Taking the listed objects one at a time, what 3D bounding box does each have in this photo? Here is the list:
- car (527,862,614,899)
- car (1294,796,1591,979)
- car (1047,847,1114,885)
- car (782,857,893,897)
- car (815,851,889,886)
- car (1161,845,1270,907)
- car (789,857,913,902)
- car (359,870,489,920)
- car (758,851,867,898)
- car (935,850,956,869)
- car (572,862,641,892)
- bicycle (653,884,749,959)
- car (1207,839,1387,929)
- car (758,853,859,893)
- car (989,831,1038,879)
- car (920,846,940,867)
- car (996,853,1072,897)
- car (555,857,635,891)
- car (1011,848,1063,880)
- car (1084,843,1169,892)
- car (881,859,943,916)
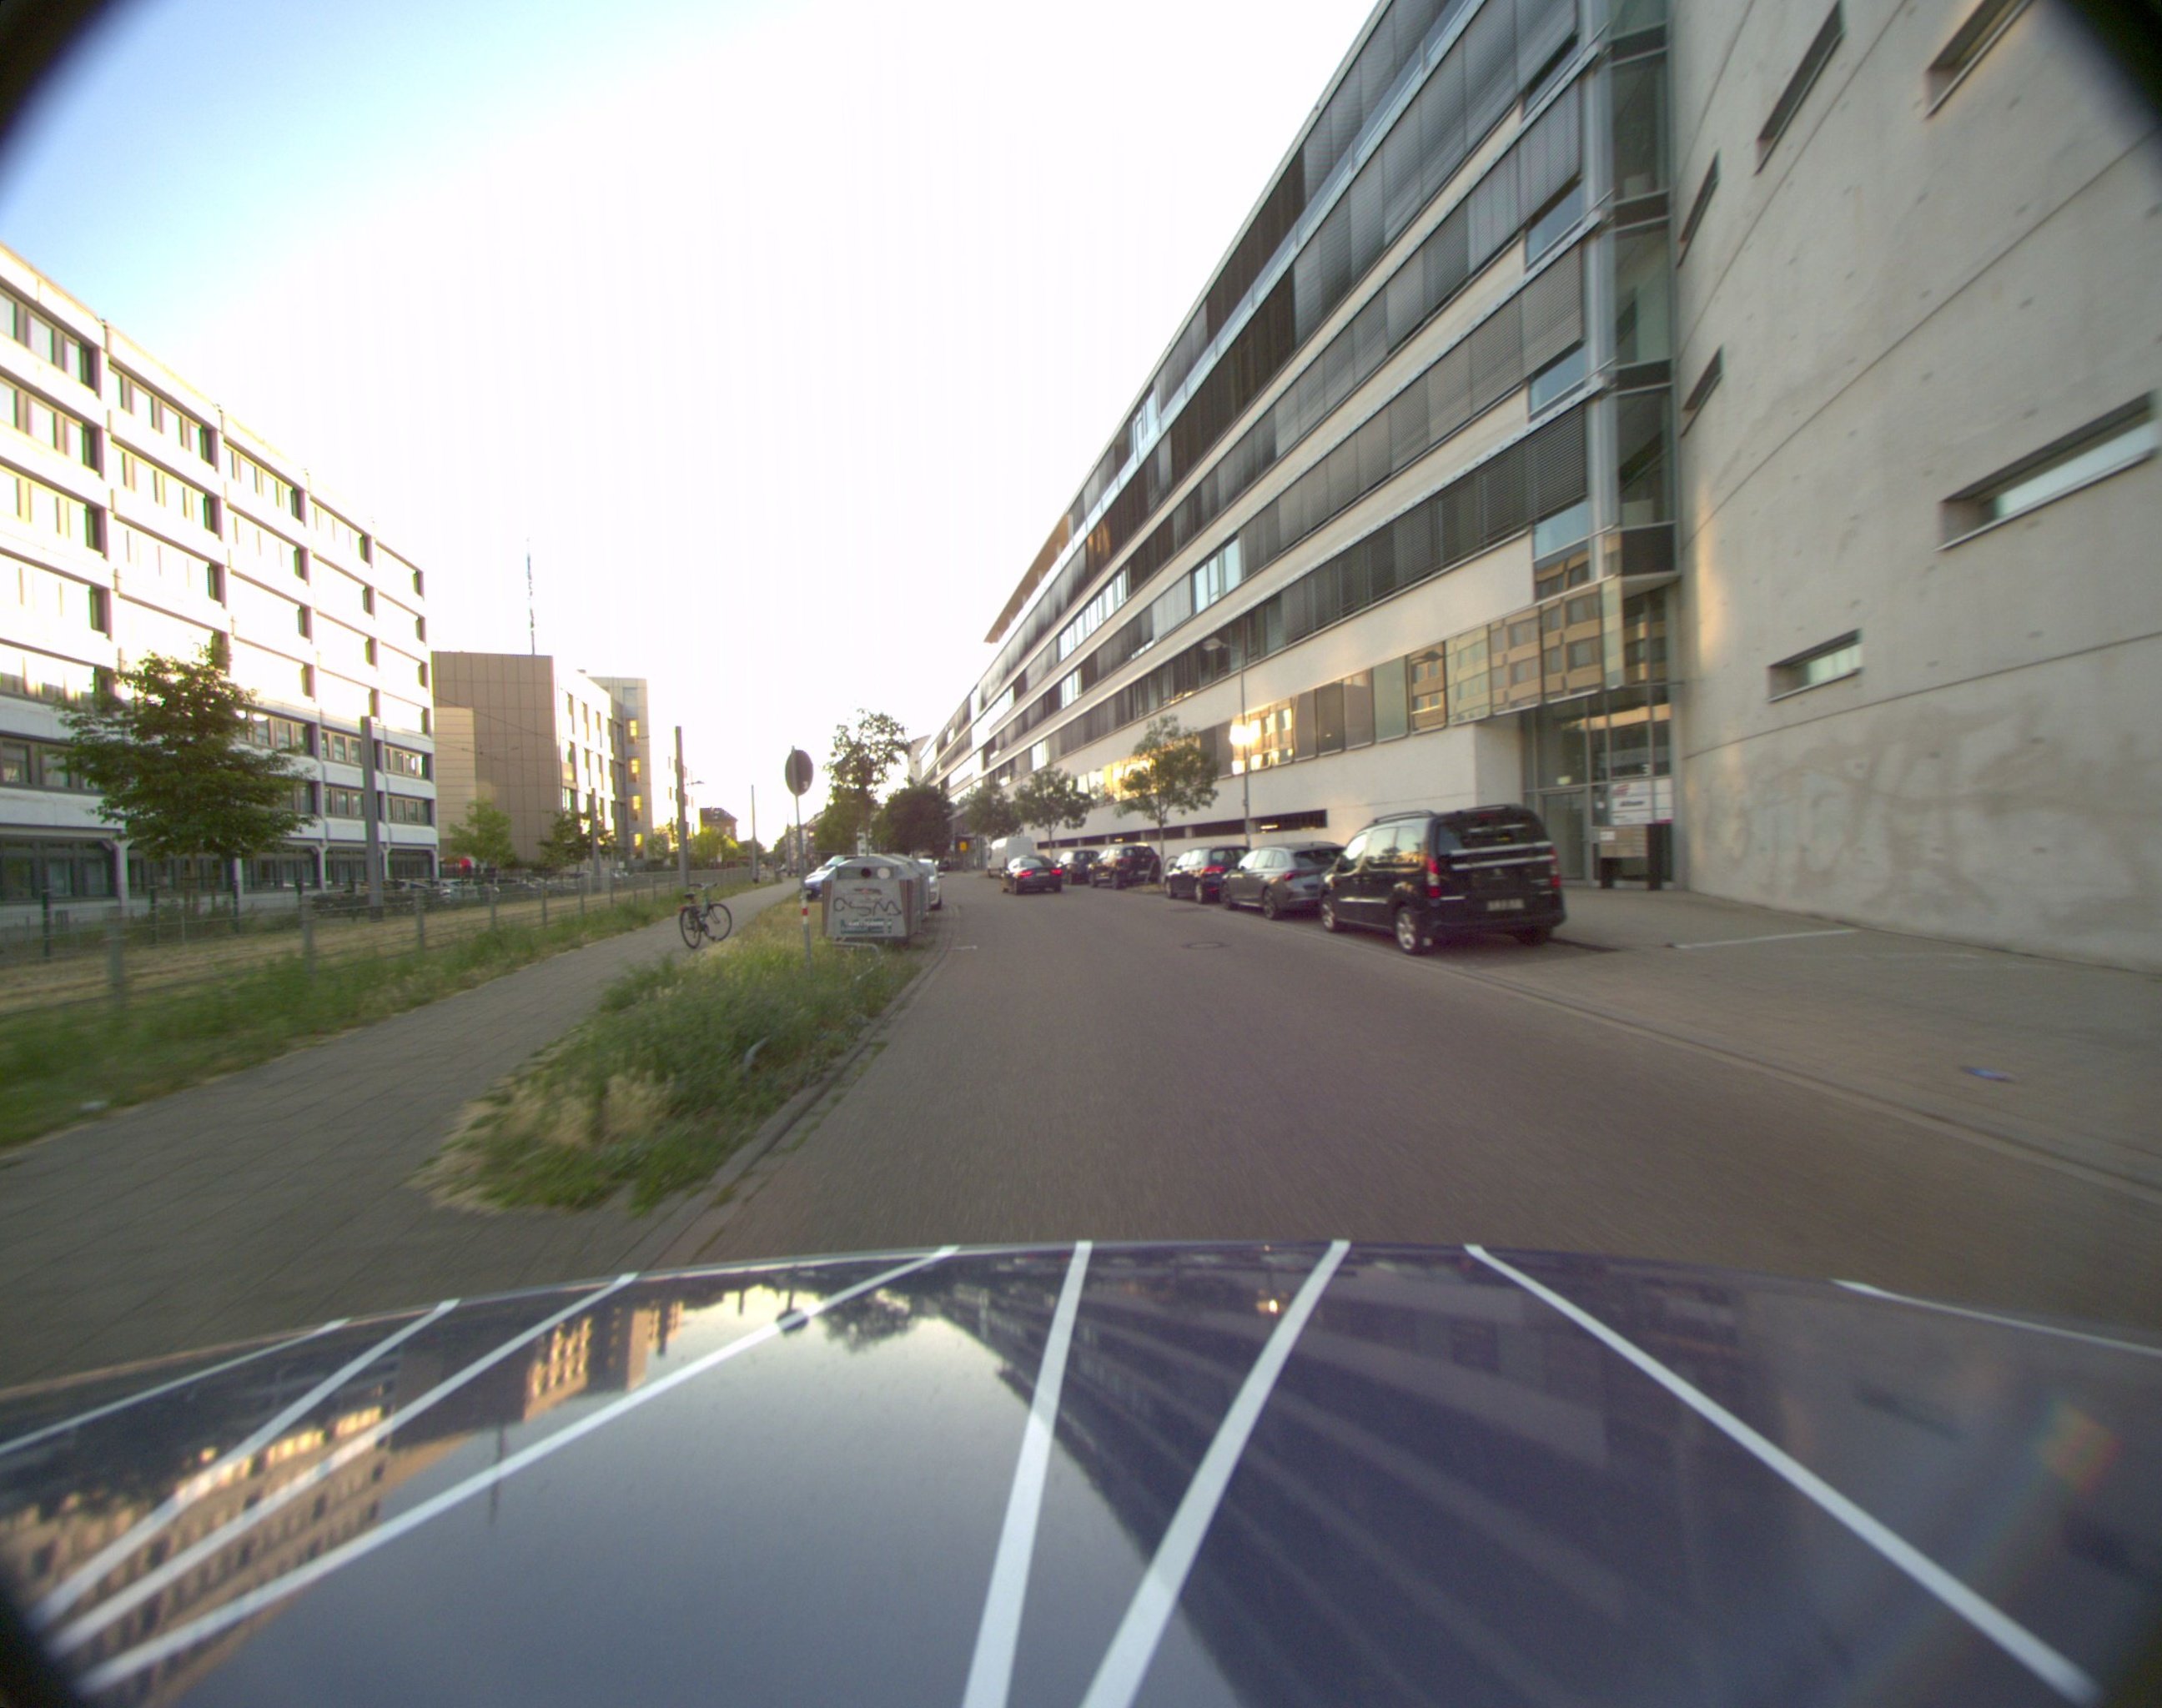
[{"bbox_3d":[-31.414,1.595,46.918,4.003,2.002,1.997,-3,1,-19],"label":"car"},{"bbox_3d":[4.770,0.378,10.934,1.894,1.961,4.516,-4,0,-2],"label":"car"},{"bbox_3d":[-0.092,0.529,35.423,1.799,1.542,3.993,-4,1,-19],"label":"car"},{"bbox_3d":[-9.794,0.913,30.822,1.713,1.368,4.007,-2,0,35],"label":"car"},{"bbox_3d":[-14.319,0.885,47.696,1.713,1.948,4.181,-2,1,38],"label":"car"},{"bbox_3d":[3.530,0.534,20.600,1.653,1.468,3.762,-2,0,-10],"label":"car"},{"bbox_3d":[-8.147,0.879,27.222,1.713,1.368,4.007,-2,0,35],"label":"car"},{"bbox_3d":[-30.091,1.847,34.968,4.003,2.002,1.997,-3,1,-19],"label":"car"},{"bbox_3d":[-11.302,0.833,32.202,1.713,1.746,4.008,-2,1,38],"label":"car"},{"bbox_3d":[-15.101,0.605,84.237,2.001,2.002,3.995,-2,0,-13],"label":"car"},{"bbox_3d":[-35.579,1.727,57.099,4.003,2.002,1.997,-3,1,-19],"label":"car"},{"bbox_3d":[-6.654,1.152,13.435,0.542,1.128,1.926,-2,0,5],"label":"bicycle"},{"bbox_3d":[4.254,0.537,15.813,1.866,1.468,4.517,-4,1,-8],"label":"car"},{"bbox_3d":[-12.502,0.845,35.015,1.713,1.634,4.008,-2,1,38],"label":"car"},{"bbox_3d":[-4.452,0.085,49.154,2.007,2.859,6.246,-1,0,-16],"label":"car"},{"bbox_3d":[-19.600,0.301,98.422,2.001,2.570,3.994,-2,0,-19],"label":"car"},{"bbox_3d":[-1.948,0.784,30.011,1.861,1.489,4.668,-4,1,-17],"label":"car"},{"bbox_3d":[-31.814,1.258,49.889,4.003,2.002,1.997,-3,1,-19],"label":"car"},{"bbox_3d":[-2.610,0.564,43.826,1.799,1.692,3.993,-1,0,-22],"label":"car"},{"bbox_3d":[1.659,0.494,29.239,1.799,1.676,3.993,-3,1,-19],"label":"car"},{"bbox_3d":[-5.010,0.940,22.809,1.632,1.503,3.414,-2,0,-10],"label":"car"}]
